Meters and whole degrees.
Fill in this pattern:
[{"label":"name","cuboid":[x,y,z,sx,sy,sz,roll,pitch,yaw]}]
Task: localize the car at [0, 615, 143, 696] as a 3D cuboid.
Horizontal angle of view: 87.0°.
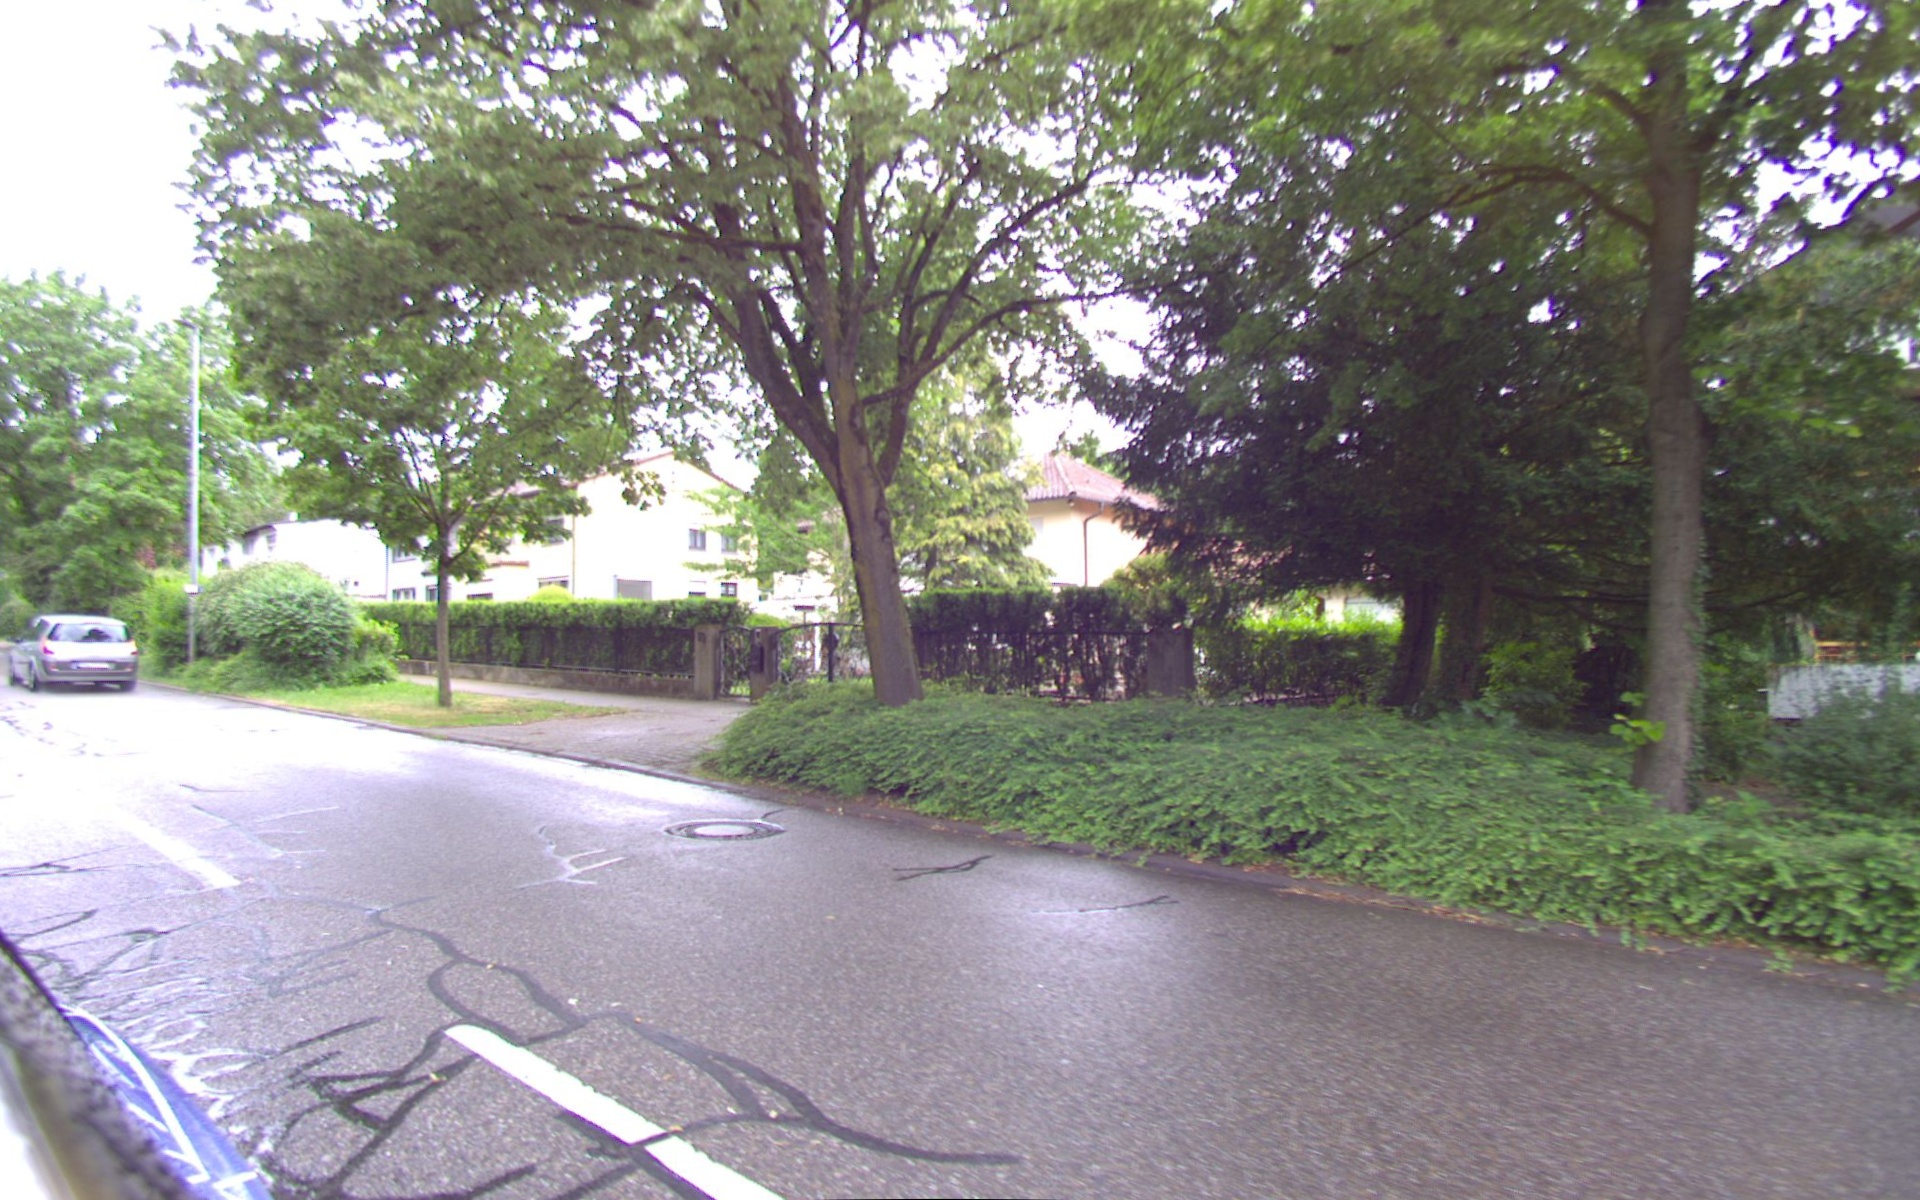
[{"label":"car","cuboid":[-19.594,1.192,22.273,4.138,1.626,1.745,-2,-4,41]}]
